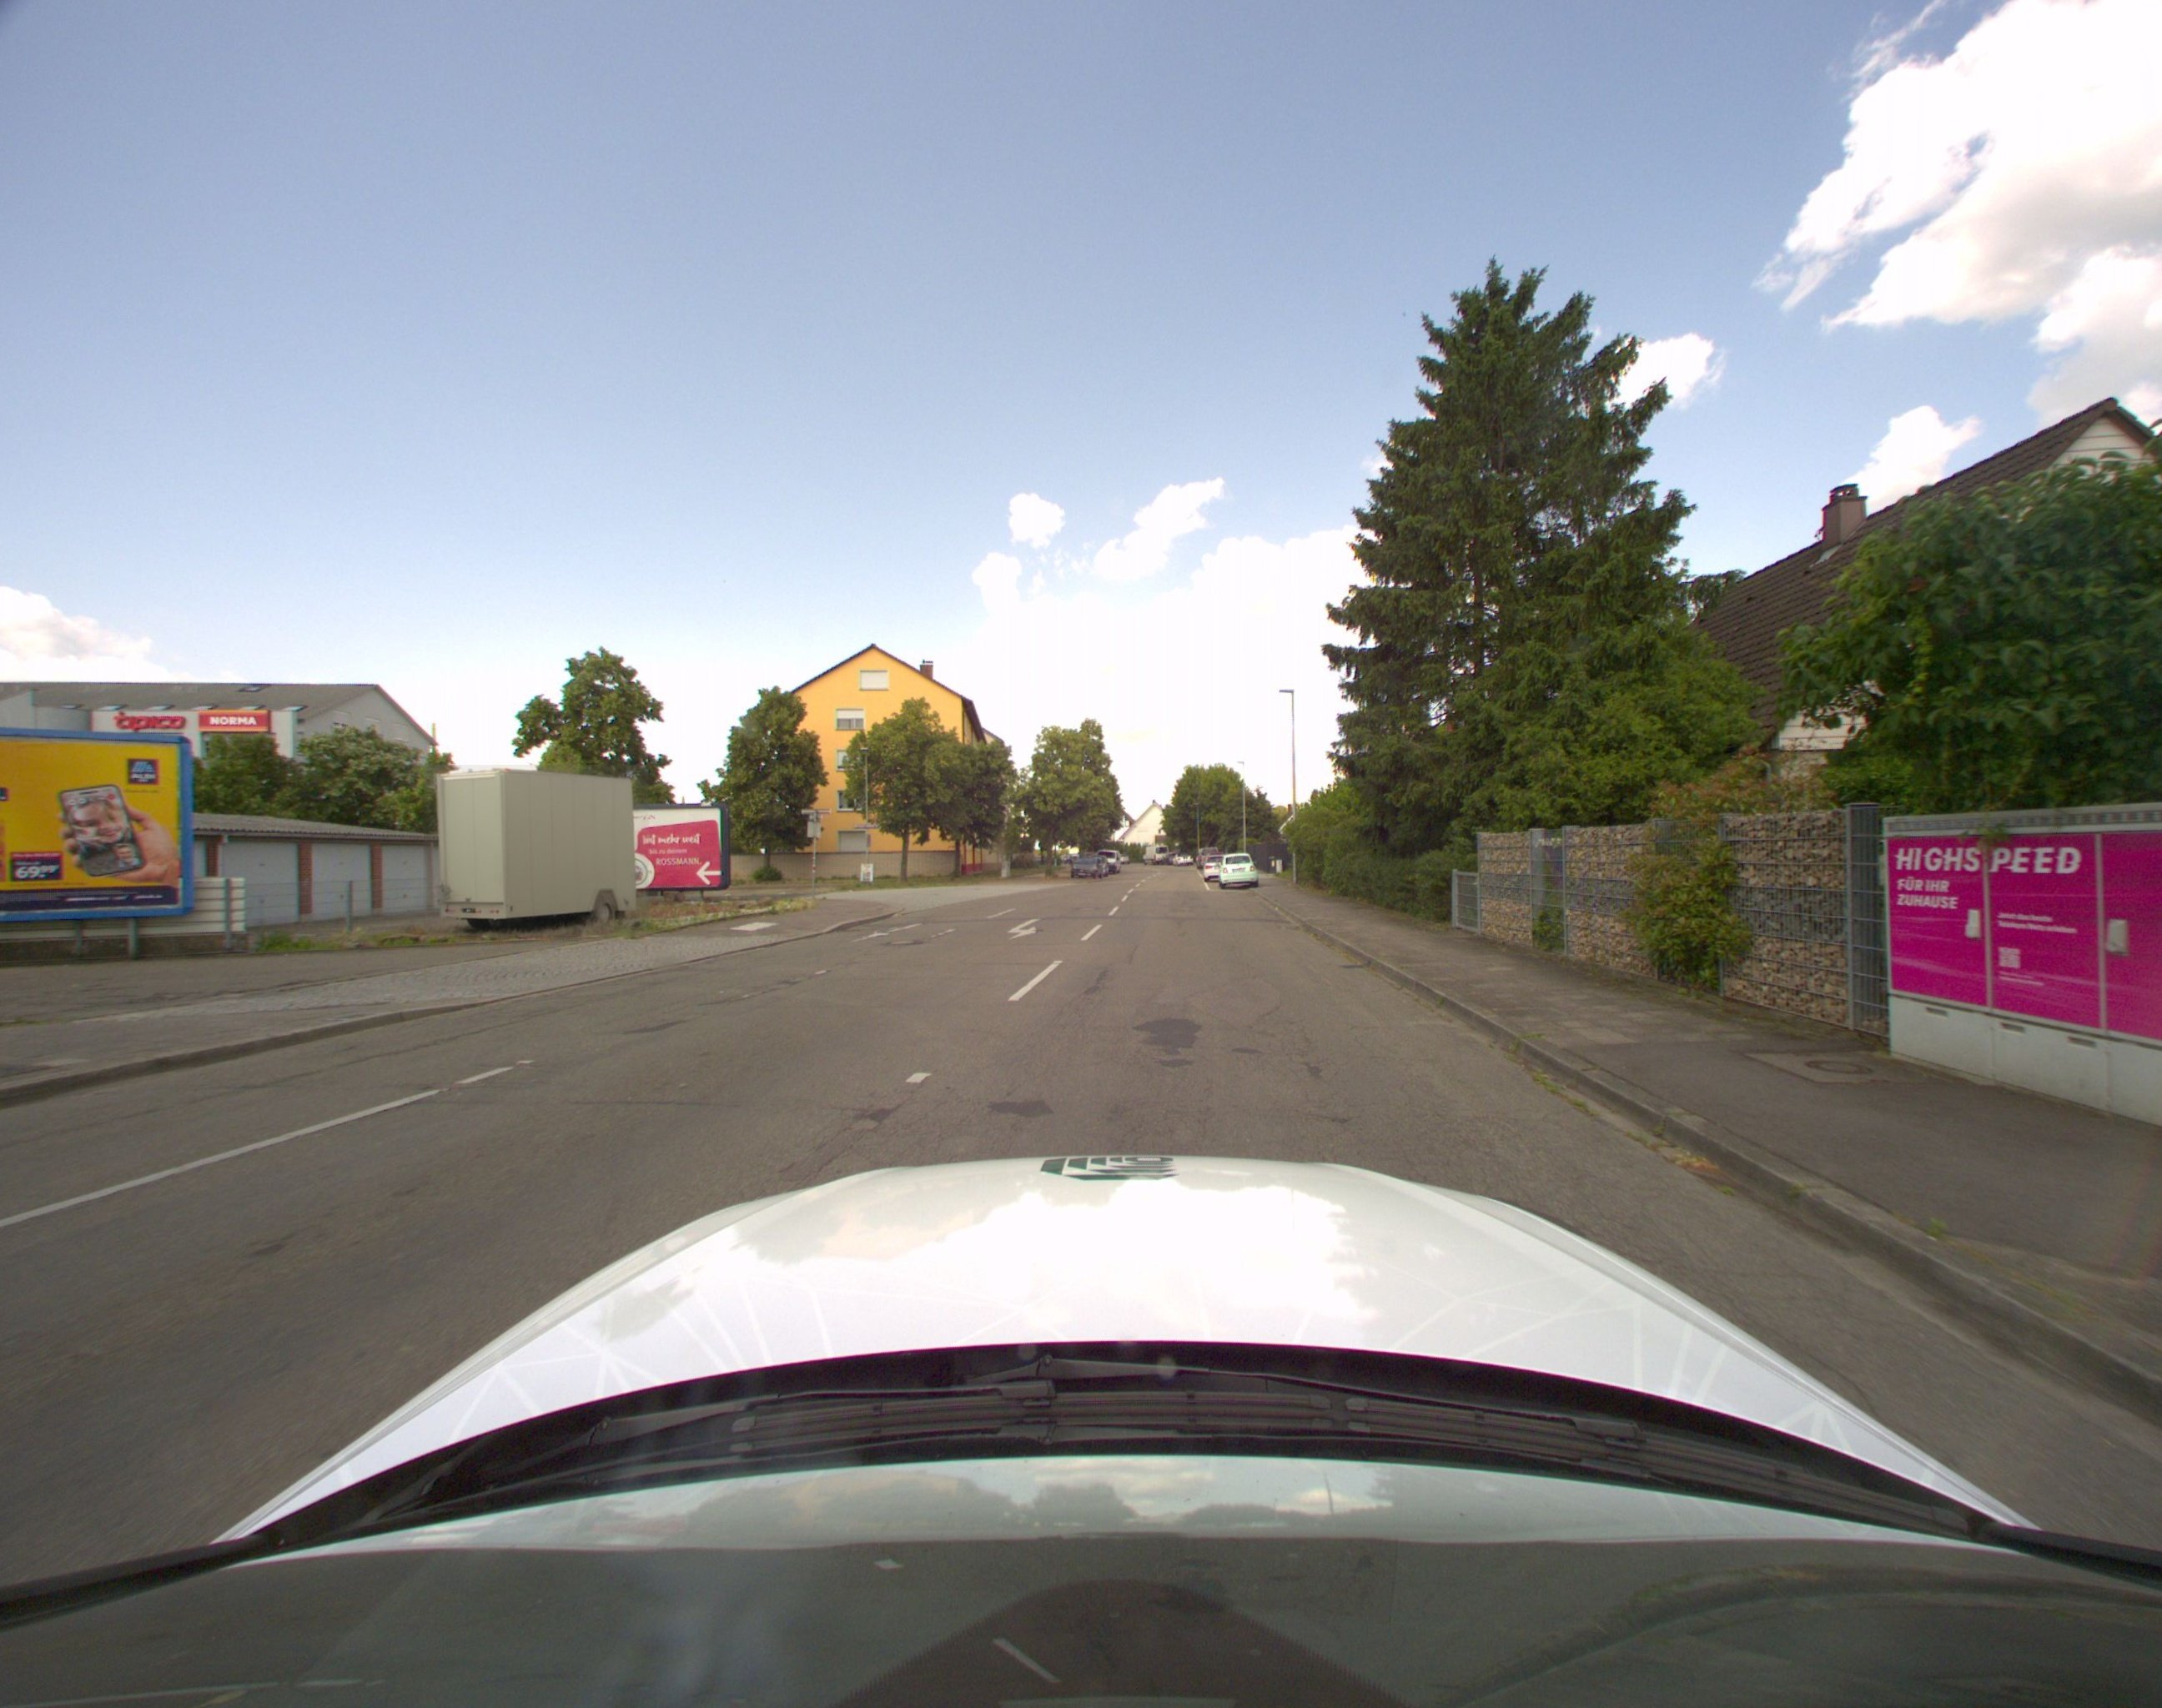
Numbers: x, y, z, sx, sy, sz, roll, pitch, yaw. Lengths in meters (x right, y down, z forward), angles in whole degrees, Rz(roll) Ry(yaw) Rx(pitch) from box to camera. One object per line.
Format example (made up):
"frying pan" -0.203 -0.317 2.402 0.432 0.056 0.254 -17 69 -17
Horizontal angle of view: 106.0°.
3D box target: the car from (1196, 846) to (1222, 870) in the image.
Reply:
"car" 11.617 0.352 74.036 1.834 1.944 4.881 -3 0 4

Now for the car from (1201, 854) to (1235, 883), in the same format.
"car" 7.389 0.741 43.727 1.710 1.486 3.760 -1 0 11

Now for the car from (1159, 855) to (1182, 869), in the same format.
"car" 10.665 0.921 97.542 1.717 1.585 4.110 -1 0 -10

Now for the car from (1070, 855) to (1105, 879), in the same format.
"car" 0.486 0.866 54.565 1.674 1.486 3.993 2 -1 9

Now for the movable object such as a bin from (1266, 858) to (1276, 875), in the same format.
"movable object such as a bin" 11.707 0.761 50.237 0.513 1.039 0.631 -1 -1 7

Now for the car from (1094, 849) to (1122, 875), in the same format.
"car" 2.332 0.640 69.290 1.869 2.009 5.333 2 0 7

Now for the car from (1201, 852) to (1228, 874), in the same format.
"car" 9.966 0.671 61.055 1.840 1.579 4.742 -1 0 7

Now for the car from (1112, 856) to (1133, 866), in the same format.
"car" 6.031 1.033 118.529 1.741 1.457 4.341 -1 0 -16

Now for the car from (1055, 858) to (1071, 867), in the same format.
"car" -3.212 1.444 145.125 1.801 1.523 3.946 0 0 -20

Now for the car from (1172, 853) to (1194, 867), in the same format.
"car" 11.334 0.662 90.748 1.735 1.512 4.455 -1 0 -2

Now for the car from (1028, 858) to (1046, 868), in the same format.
"car" -6.894 1.453 128.005 1.791 1.458 4.409 4 -2 -17

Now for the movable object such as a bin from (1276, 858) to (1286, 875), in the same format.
"movable object such as a bin" 12.304 0.754 50.173 0.513 1.039 0.631 -1 -1 7

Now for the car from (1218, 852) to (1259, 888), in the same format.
"car" 7.002 0.700 36.419 1.572 1.520 3.763 -1 0 8

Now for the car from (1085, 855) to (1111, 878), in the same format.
"car" 1.295 0.893 61.018 1.510 1.549 3.762 4 1 7

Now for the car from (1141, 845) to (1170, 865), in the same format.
"car" 9.459 0.188 104.045 2.118 2.441 5.873 -1 0 -10

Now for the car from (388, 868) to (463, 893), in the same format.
"car" -47.667 1.932 59.304 3.891 1.591 1.645 -1 2 -13
